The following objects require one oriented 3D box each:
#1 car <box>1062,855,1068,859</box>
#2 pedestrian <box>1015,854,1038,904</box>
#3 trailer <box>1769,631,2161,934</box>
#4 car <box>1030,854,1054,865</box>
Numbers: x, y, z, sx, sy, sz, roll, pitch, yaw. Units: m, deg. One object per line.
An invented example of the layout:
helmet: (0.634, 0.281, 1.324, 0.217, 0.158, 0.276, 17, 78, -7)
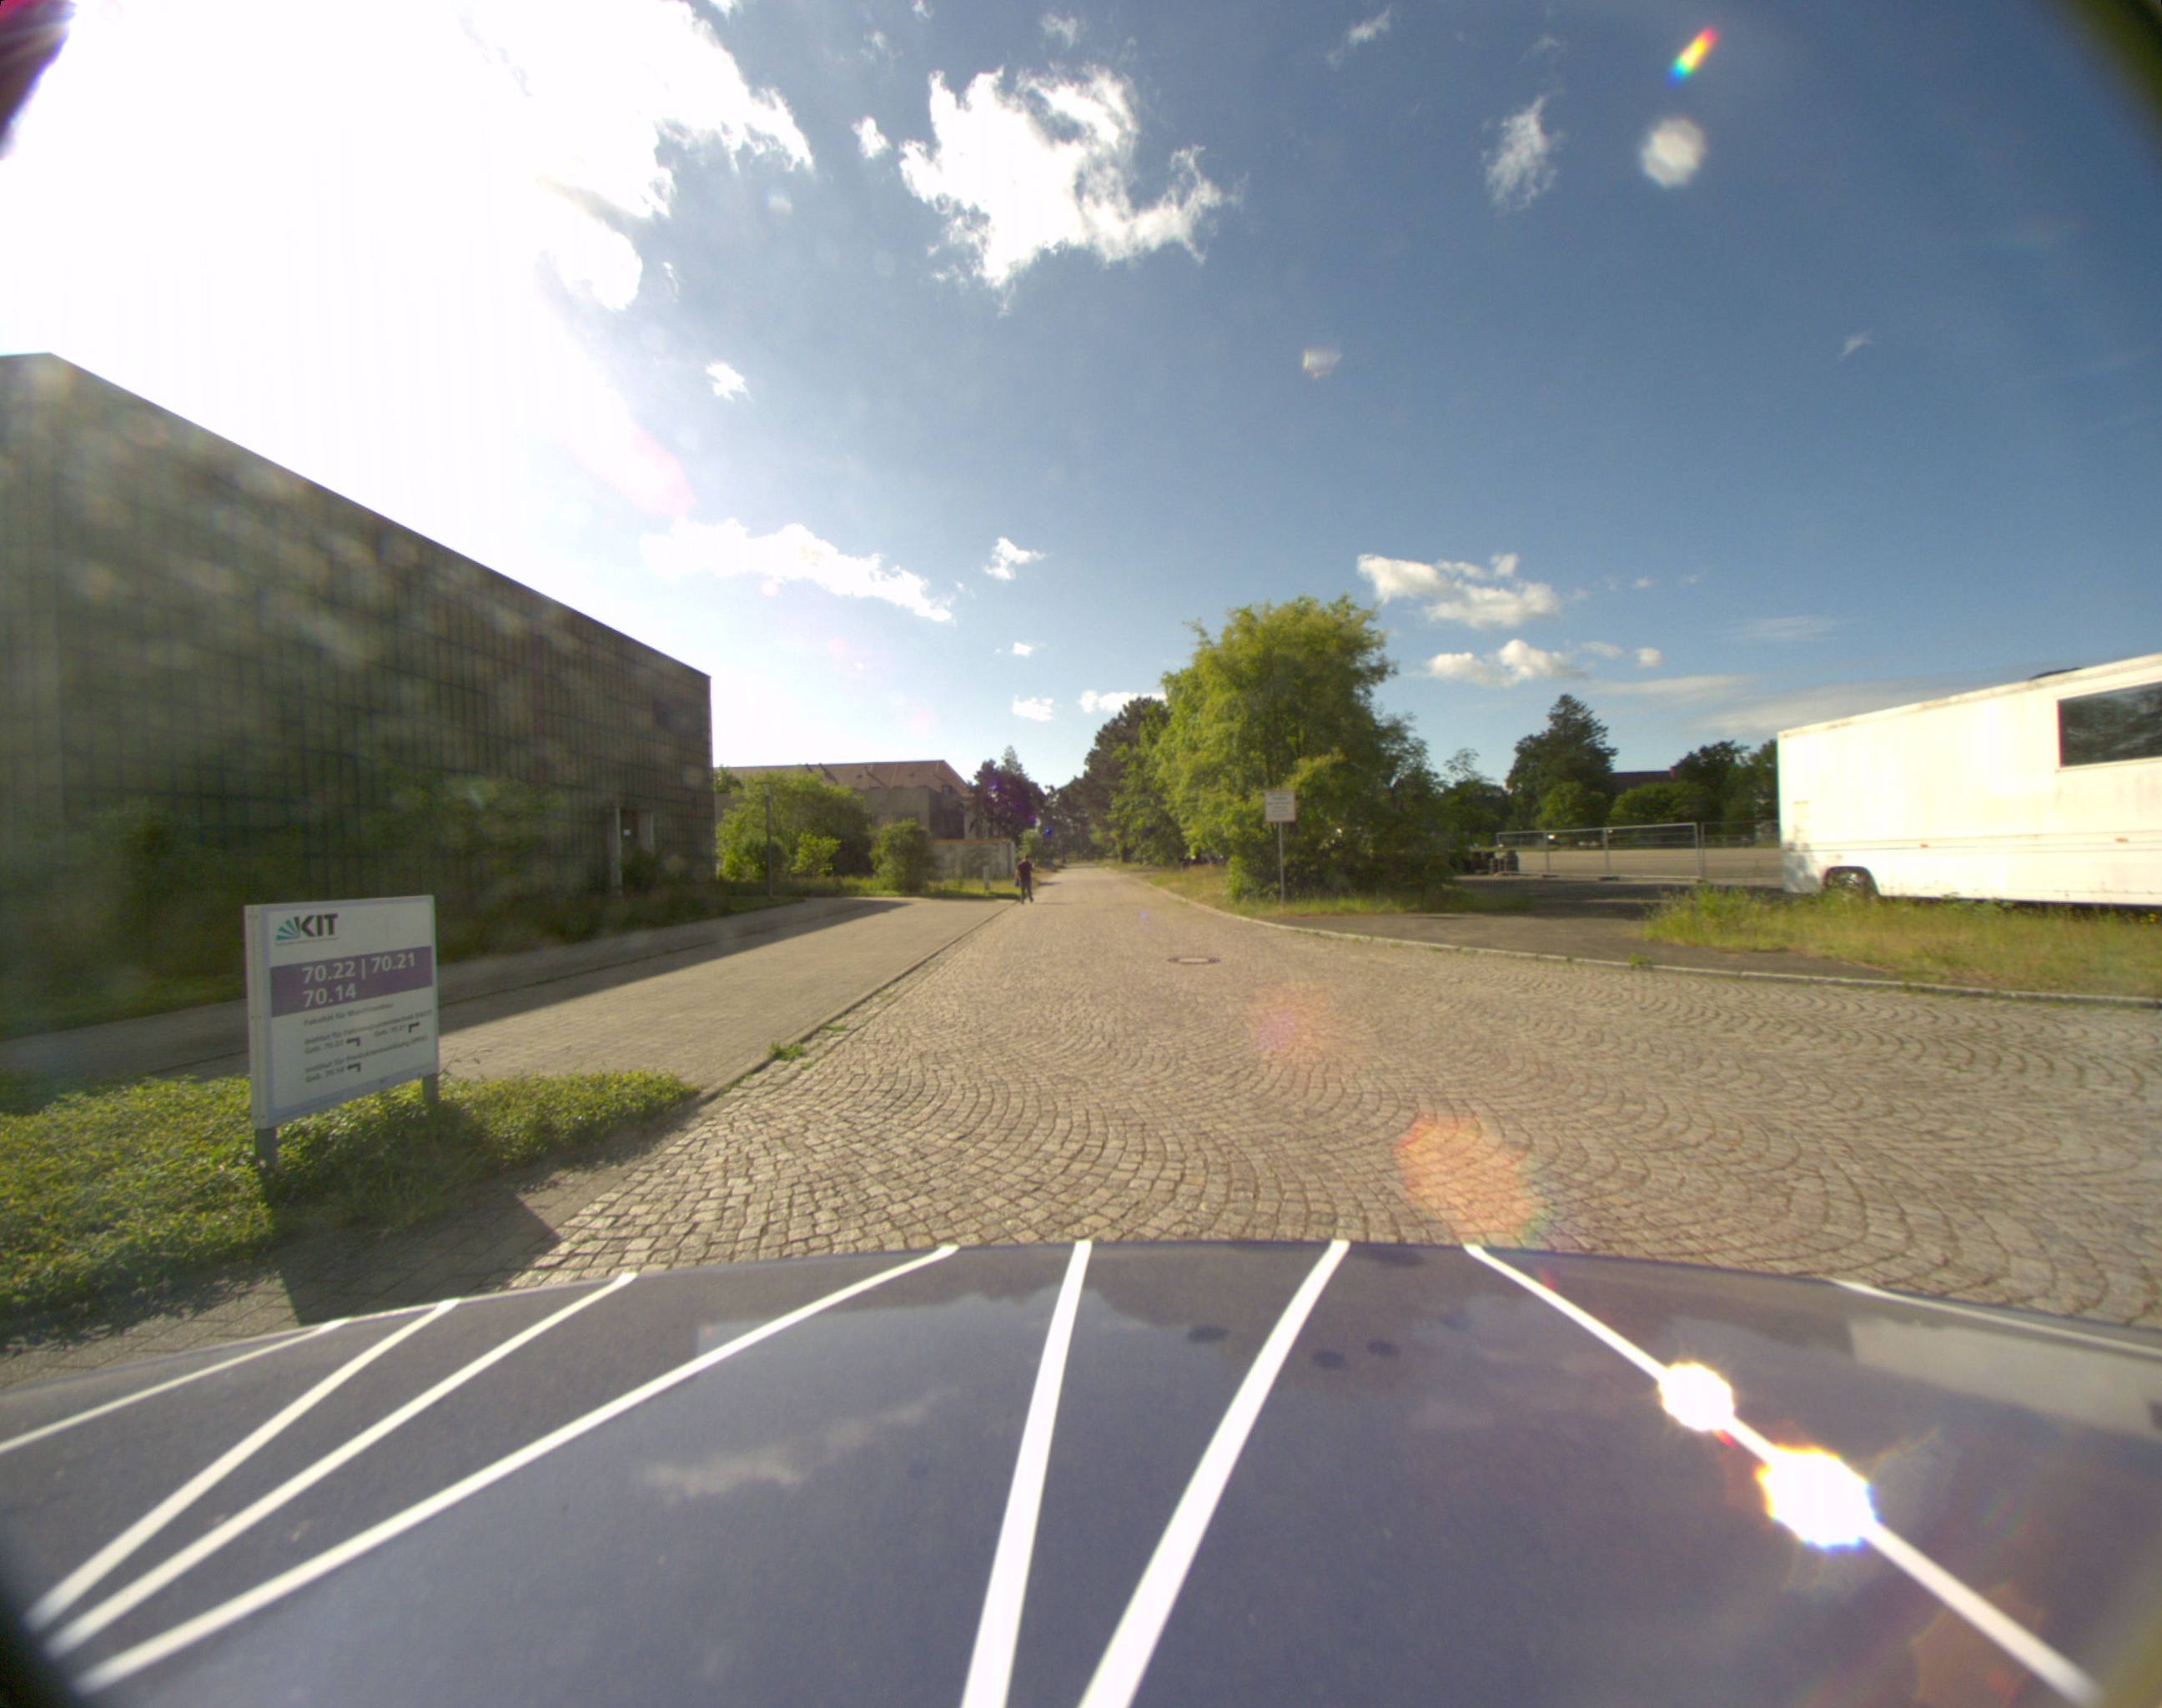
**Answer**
car: (-4.515, 0.873, 212.630, 1.373, 1.092, 2.862, -2, 0, -3)
pedestrian: (-1.964, 0.888, 27.530, 0.797, 1.770, 1.068, 0, 1, -2)
trailer: (15.258, -0.946, 10.034, 2.779, 3.888, 10.887, -1, 0, 2)
car: (-4.944, 0.704, 97.303, 2.912, 1.252, 1.287, -2, 1, -9)
